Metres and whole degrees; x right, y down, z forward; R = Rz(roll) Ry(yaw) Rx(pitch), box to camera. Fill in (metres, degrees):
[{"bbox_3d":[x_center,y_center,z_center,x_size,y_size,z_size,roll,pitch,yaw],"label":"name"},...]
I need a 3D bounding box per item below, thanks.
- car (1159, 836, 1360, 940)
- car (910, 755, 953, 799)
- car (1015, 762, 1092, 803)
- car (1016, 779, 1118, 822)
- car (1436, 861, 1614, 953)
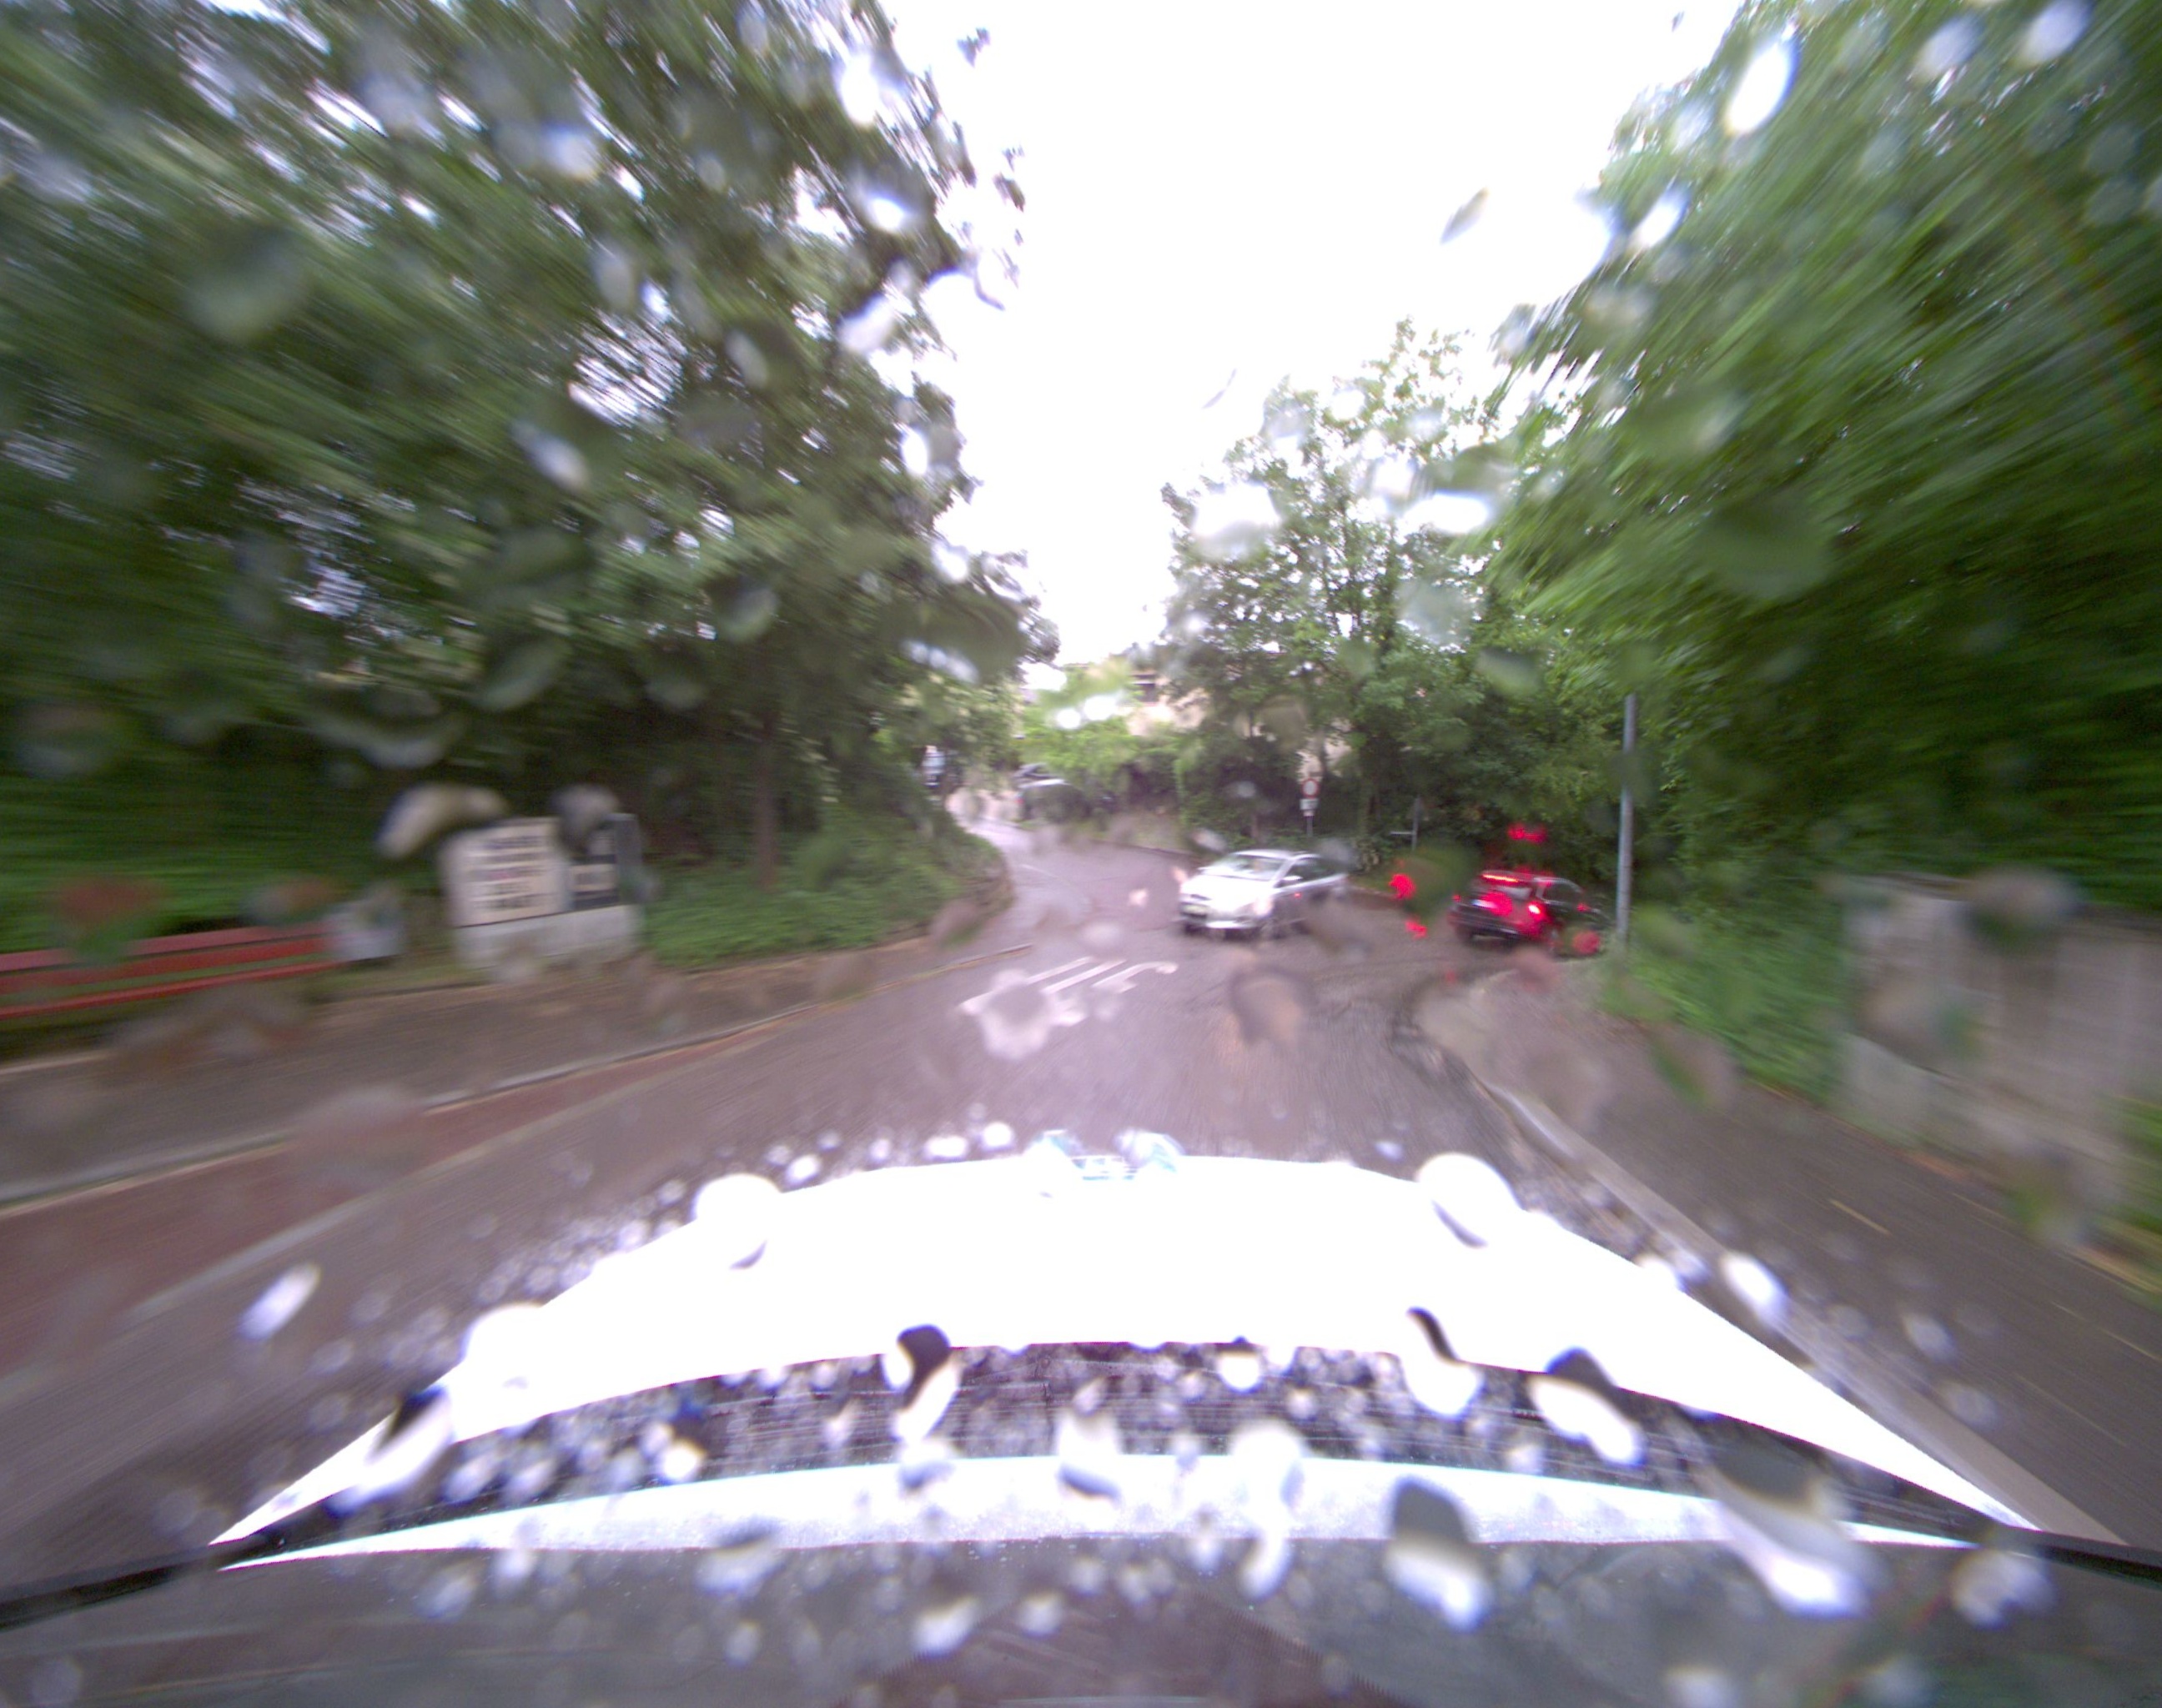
[{"bbox_3d":[3.392,0.573,14.953,1.657,1.537,4.145,6,3,42],"label":"car"},{"bbox_3d":[-7.605,-4.001,41.734,1.887,1.614,3.994,-7,13,-8],"label":"car"},{"bbox_3d":[-1.247,-3.311,37.711,3.383,1.573,1.597,-1,15,2],"label":"car"},{"bbox_3d":[-0.536,-2.166,32.867,3.974,1.415,1.701,-2,11,-1],"label":"car"},{"bbox_3d":[8.774,0.932,15.962,4.020,1.450,1.686,-1,2,-40],"label":"car"}]
